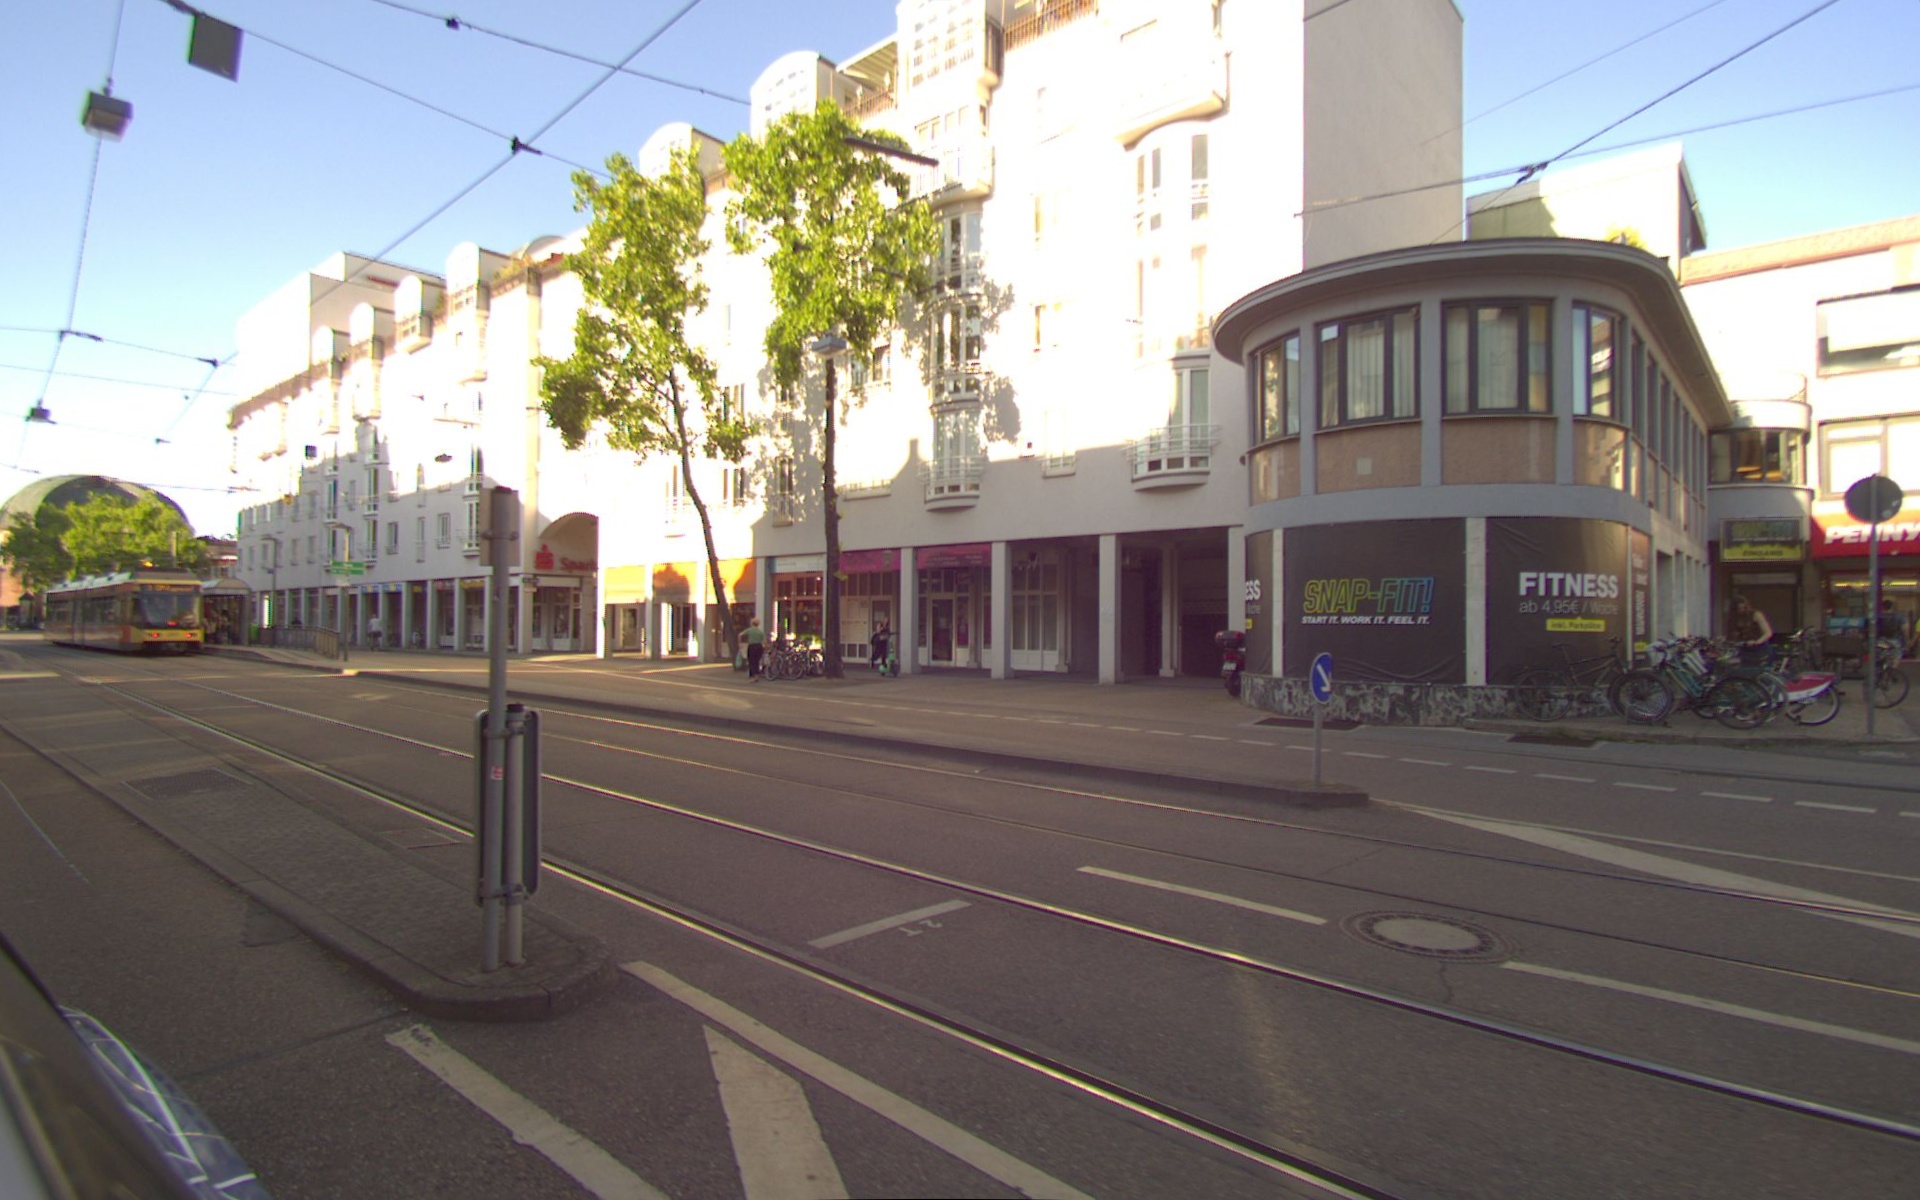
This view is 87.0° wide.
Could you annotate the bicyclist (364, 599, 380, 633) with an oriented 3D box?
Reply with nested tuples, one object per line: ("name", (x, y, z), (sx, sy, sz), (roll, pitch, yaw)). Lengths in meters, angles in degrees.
("bicyclist", (-30.060, 0.811, 51.721), (0.807, 1.713, 0.508), (0, 1, 43))

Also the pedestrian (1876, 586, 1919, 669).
("pedestrian", (19.658, 0.574, 21.160), (0.703, 1.710, 0.617), (-1, -2, 41))

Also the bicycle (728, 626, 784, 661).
("bicycle", (-5.837, 1.236, 29.021), (0.418, 0.919, 1.754), (0, 1, 37))

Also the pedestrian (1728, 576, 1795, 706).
("pedestrian", (10.887, 0.544, 13.742), (0.683, 1.710, 0.674), (-1, -2, 40))

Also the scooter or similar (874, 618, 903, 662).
("scooter or similar", (-1.870, 1.032, 26.449), (0.330, 1.120, 1.184), (1, 0, -25))

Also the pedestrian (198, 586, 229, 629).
("pedestrian", (-32.260, 0.326, 43.729), (0.978, 1.846, 0.906), (0, -1, 44))

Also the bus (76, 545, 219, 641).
("bus", (-35.037, -0.241, 43.317), (13.678, 3.594, 2.780), (0, -1, 43))

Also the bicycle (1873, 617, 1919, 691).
("bicycle", (15.873, 0.894, 17.153), (0.348, 1.196, 1.810), (-1, -1, 35))

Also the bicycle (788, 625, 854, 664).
("bicycle", (-3.629, 1.157, 26.593), (1.823, 0.919, 0.390), (-1, 1, -43))

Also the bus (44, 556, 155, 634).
("bus", (-44.808, -0.227, 52.467), (13.679, 3.594, 2.780), (0, -1, 43))

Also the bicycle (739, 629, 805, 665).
("bicycle", (-5.202, 1.287, 28.066), (1.820, 0.919, 0.390), (-1, 1, -35))

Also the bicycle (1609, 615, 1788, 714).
("bicycle", (9.468, 0.799, 13.048), (1.828, 1.196, 0.436), (-1, -1, 37))

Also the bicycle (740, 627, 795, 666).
("bicycle", (-5.016, 1.191, 26.298), (1.851, 0.919, 0.384), (0, 1, 43))

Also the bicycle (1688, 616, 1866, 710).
("bicycle", (10.987, 0.817, 13.679), (1.829, 1.196, 0.443), (-1, -2, 39))

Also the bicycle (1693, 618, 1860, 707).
("bicycle", (11.642, 0.865, 14.491), (1.829, 1.196, 0.443), (-1, -2, 39))

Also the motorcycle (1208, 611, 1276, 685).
("motorcycle", (5.342, 0.874, 19.097), (0.561, 1.288, 1.738), (-1, 1, 39))

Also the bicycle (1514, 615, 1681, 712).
("bicycle", (8.358, 0.802, 13.319), (1.828, 1.196, 0.441), (-1, -1, 36))

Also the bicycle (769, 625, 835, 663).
("bicycle", (-4.227, 1.171, 27.136), (1.823, 0.919, 0.390), (-1, 0, -43))

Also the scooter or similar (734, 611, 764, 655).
("scooter or similar", (-6.306, 0.972, 30.257), (0.372, 1.288, 1.182), (-3, 1, -36))

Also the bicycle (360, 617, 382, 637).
("bicycle", (-30.191, 1.366, 51.846), (1.727, 0.996, 0.511), (0, 1, 43))

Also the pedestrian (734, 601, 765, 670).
("pedestrian", (-5.368, 0.899, 25.776), (0.621, 1.729, 0.828), (1, -1, -21))

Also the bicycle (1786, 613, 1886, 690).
("bicycle", (14.534, 0.825, 16.846), (0.452, 1.196, 1.823), (0, -1, 14))

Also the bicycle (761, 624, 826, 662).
("bicycle", (-4.503, 1.154, 27.450), (1.823, 0.919, 0.390), (-1, 1, -43))

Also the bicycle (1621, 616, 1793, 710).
("bicycle", (10.051, 0.812, 13.672), (1.829, 1.196, 0.438), (-1, -2, 39))

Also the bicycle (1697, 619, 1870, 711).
("bicycle", (11.396, 0.867, 14.068), (1.829, 1.196, 0.443), (-1, -2, 39))

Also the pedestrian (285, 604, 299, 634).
("pedestrian", (-39.271, 1.121, 59.516), (0.706, 1.729, 0.526), (0, -1, 43))

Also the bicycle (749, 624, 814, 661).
("bicycle", (-4.872, 1.159, 27.740), (1.823, 0.919, 0.390), (-1, 1, -43))

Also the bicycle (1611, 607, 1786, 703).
("bicycle", (9.739, 0.694, 13.400), (1.829, 1.196, 0.443), (-1, -2, 39))

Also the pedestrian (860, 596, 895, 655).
("pedestrian", (-2.450, 0.745, 29.998), (0.825, 1.729, 0.623), (0, -1, 43))
